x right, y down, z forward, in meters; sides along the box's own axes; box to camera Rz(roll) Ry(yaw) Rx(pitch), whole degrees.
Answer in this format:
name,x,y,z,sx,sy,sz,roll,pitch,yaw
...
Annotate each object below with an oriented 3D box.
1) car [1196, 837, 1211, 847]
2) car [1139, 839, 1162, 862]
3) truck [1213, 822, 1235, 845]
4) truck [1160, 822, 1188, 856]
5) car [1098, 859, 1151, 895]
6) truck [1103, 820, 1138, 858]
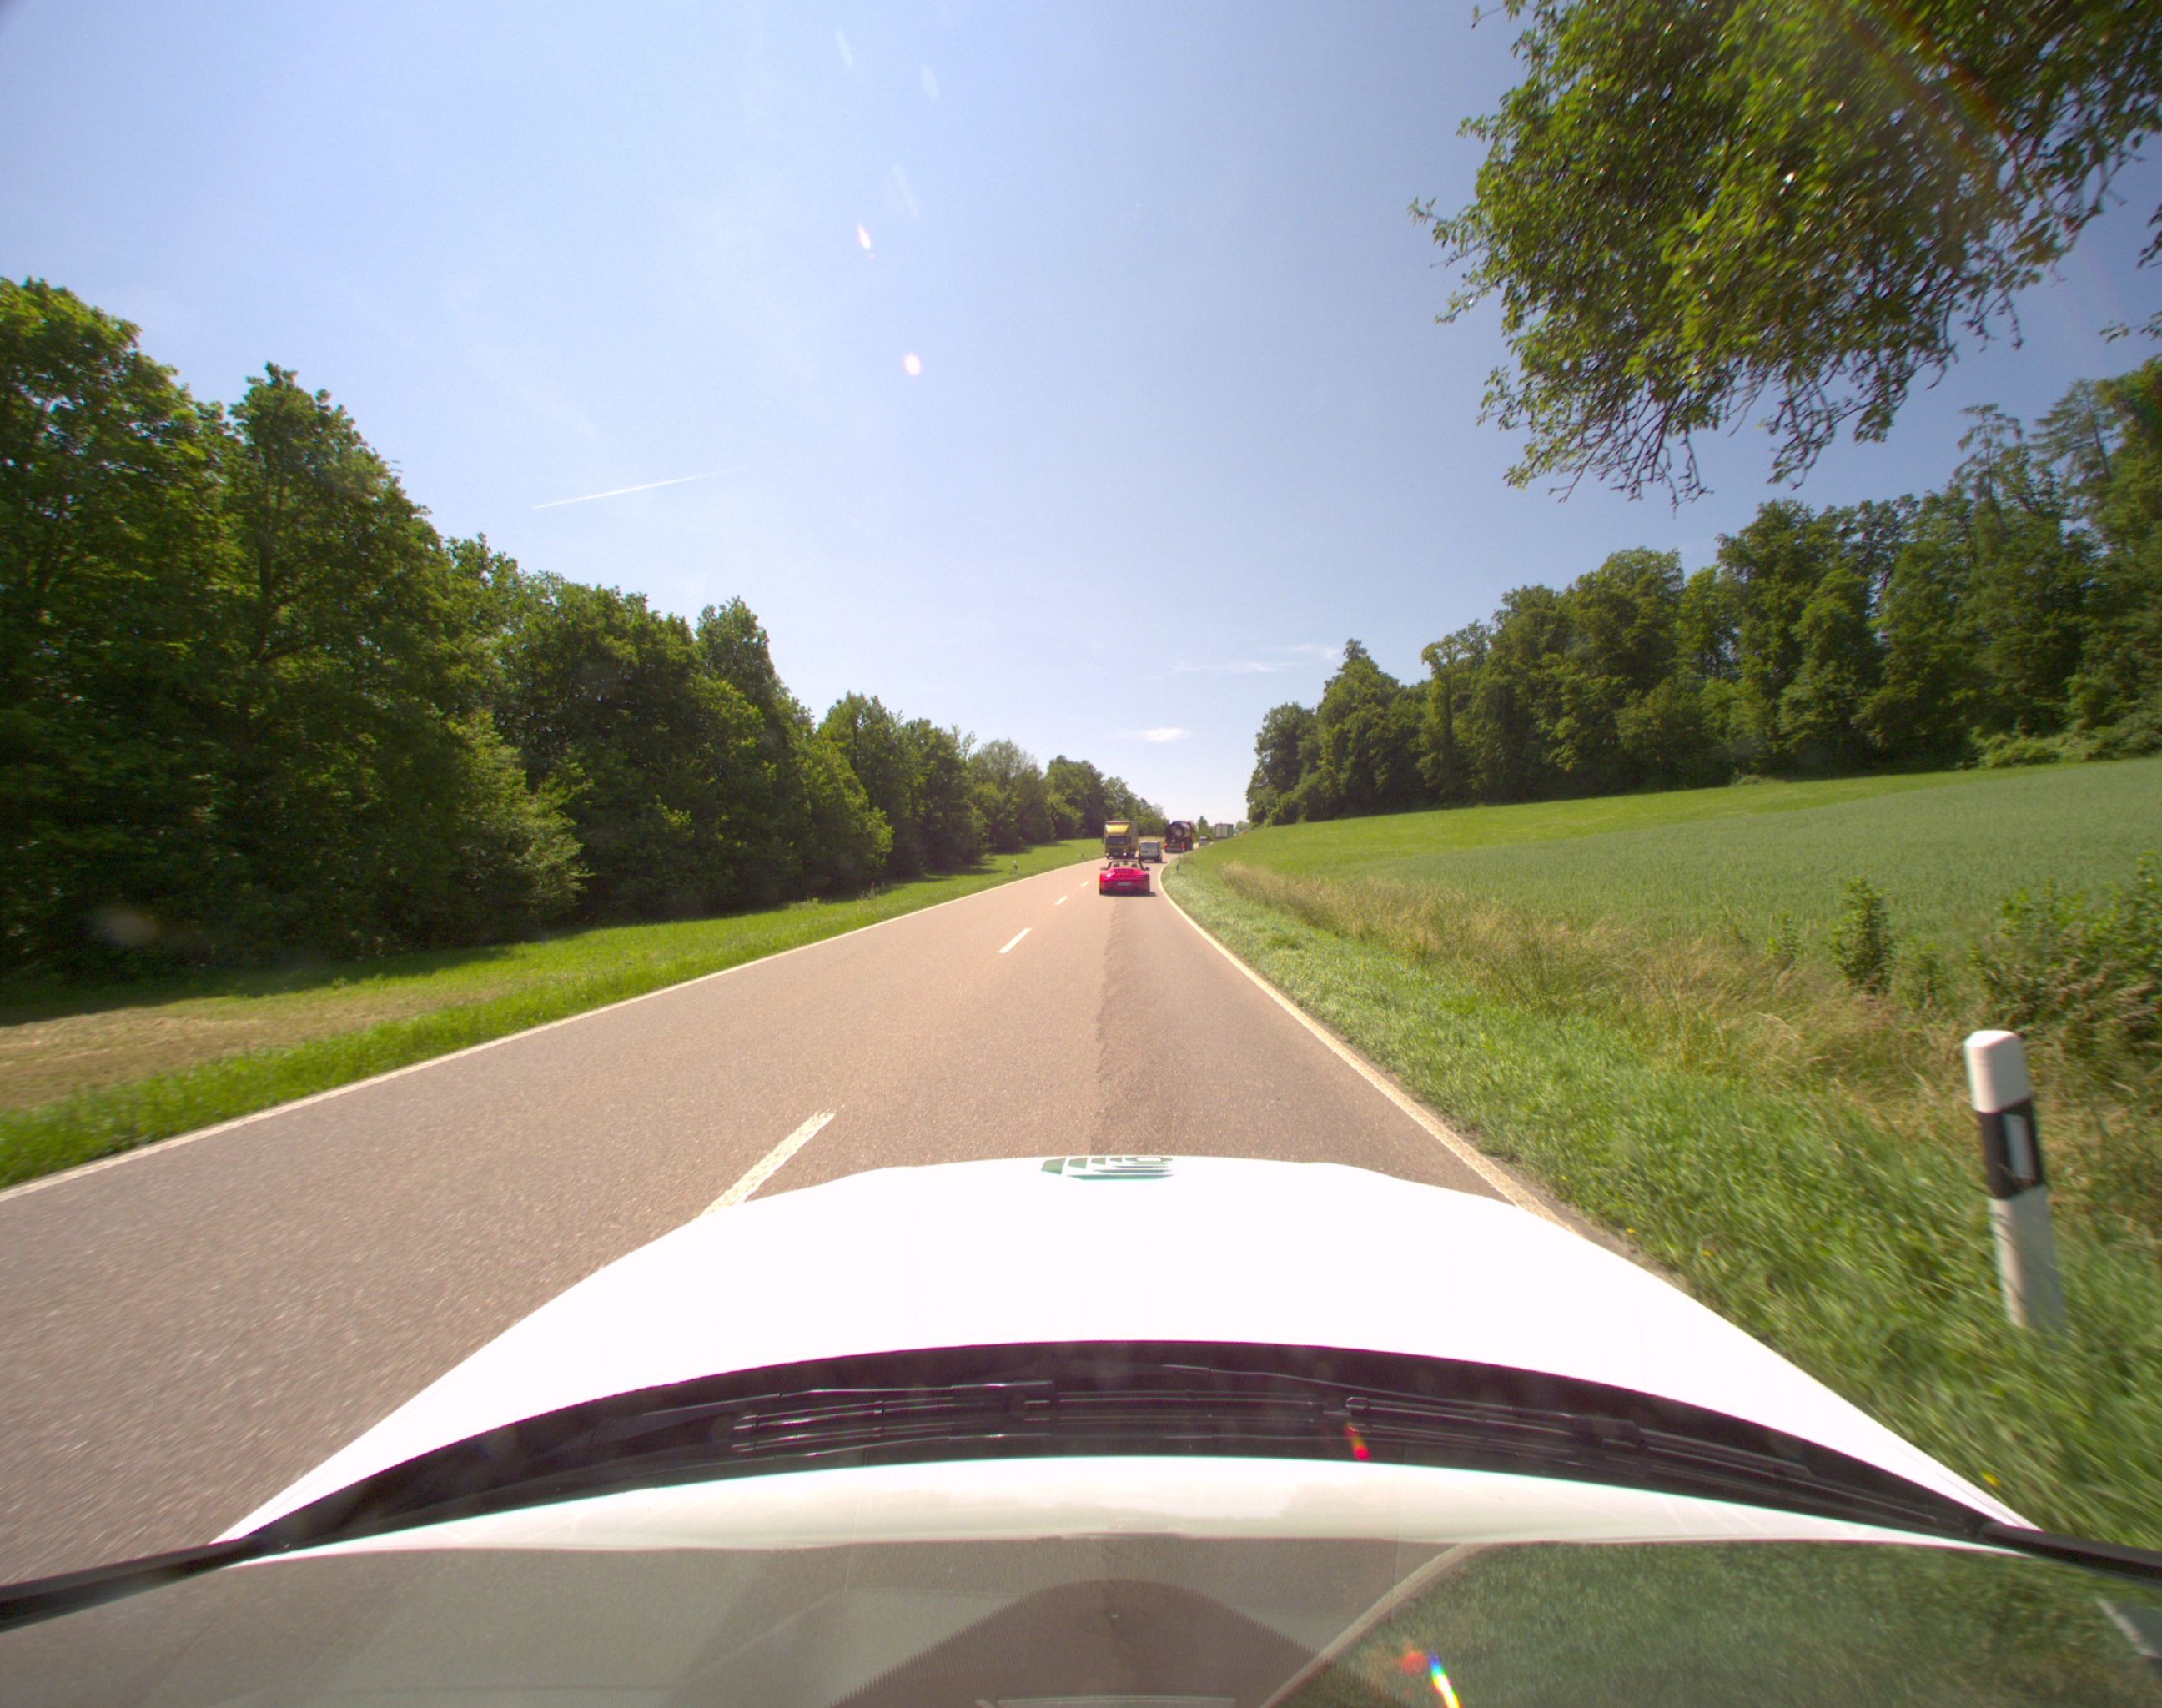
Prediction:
name,x,y,z,sx,sy,sz,roll,pitch,yaw
car,20.666,-2.040,137.007,1.817,1.513,4.210,-1,1,17
car,6.235,-0.331,72.621,1.668,1.900,4.021,0,2,10
truck,29.711,-4.261,168.879,3.699,4.660,12.076,-1,1,13
truck,11.932,-1.973,103.985,2.388,4.049,12.591,-1,1,11
car,1.644,0.813,30.874,1.875,1.255,4.012,0,0,3
truck,4.091,-1.498,82.734,2.715,3.690,8.566,0,0,8
